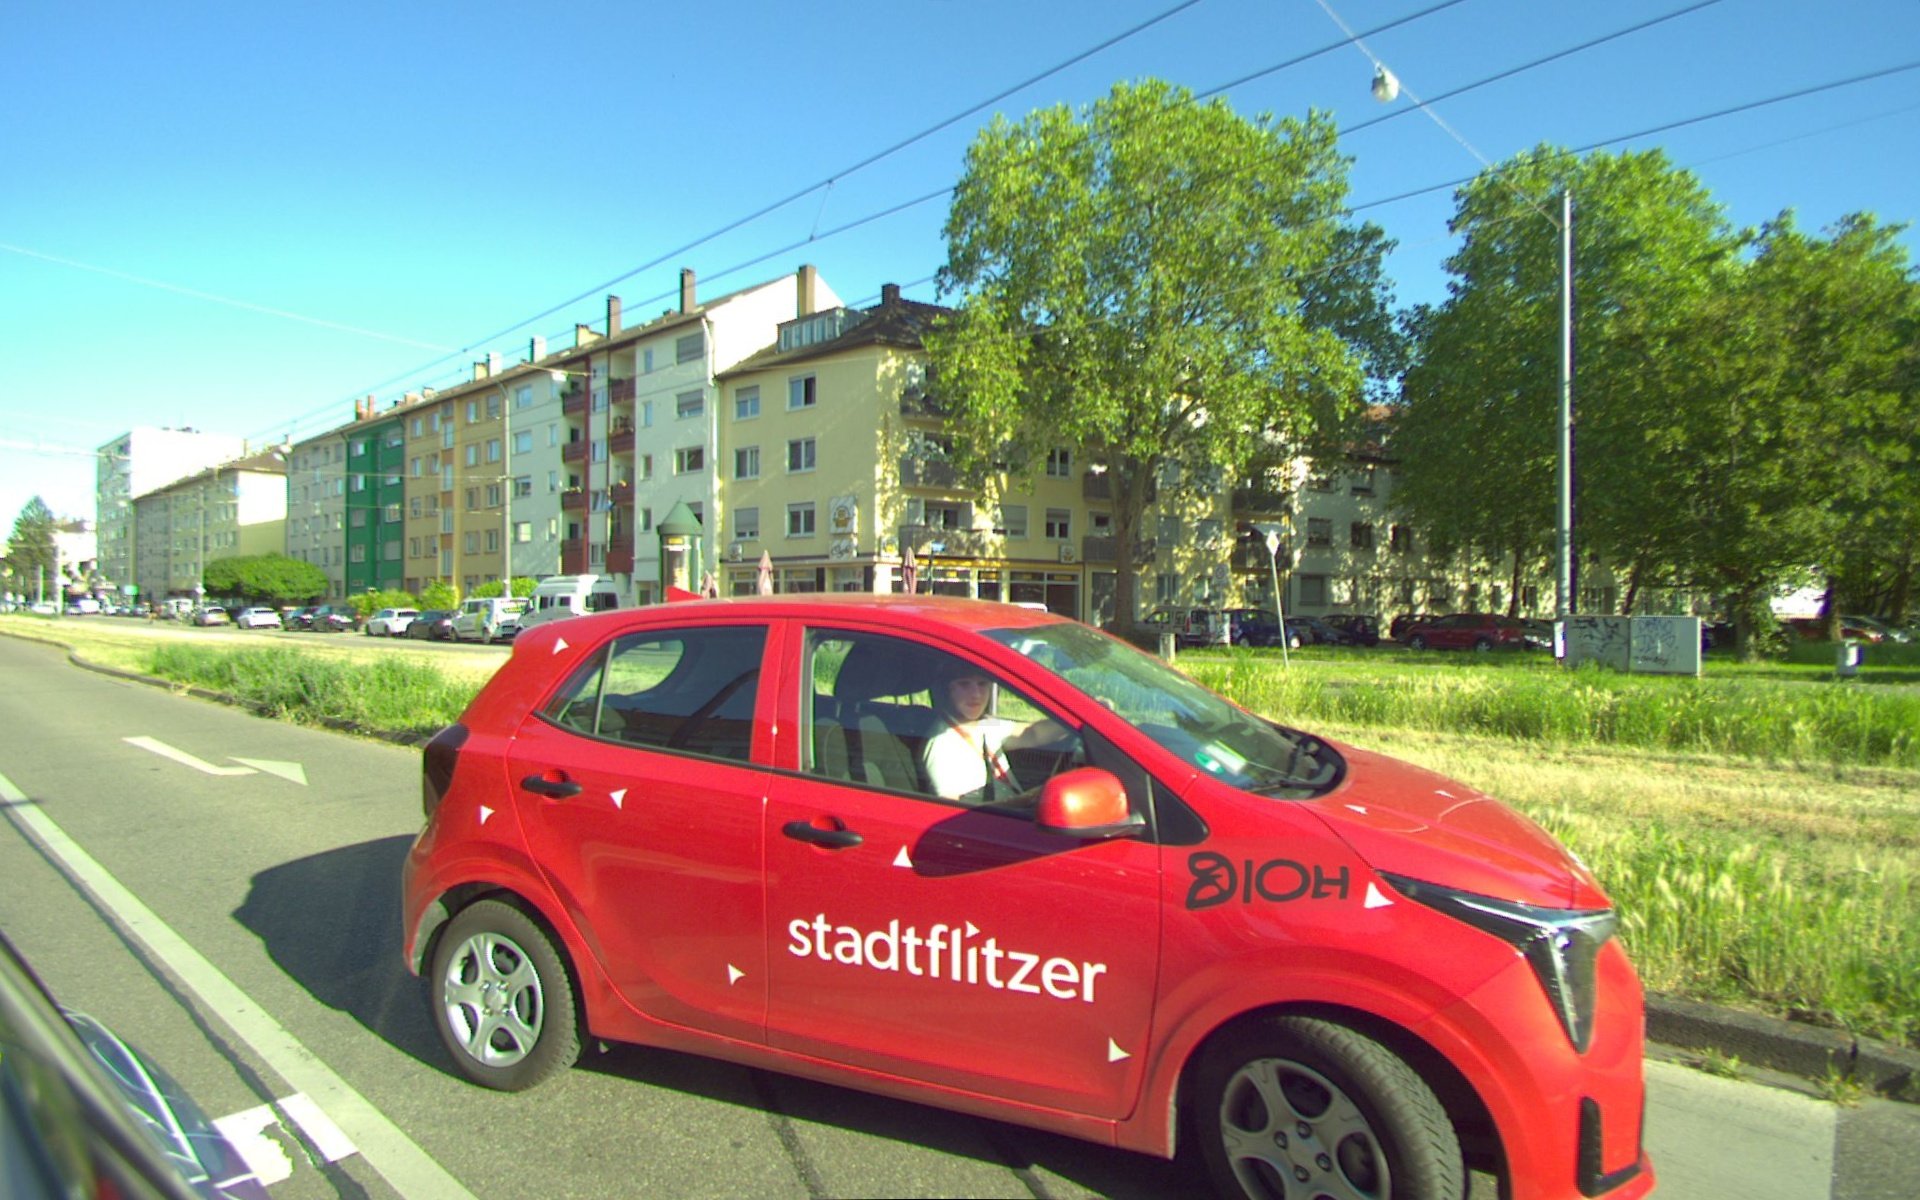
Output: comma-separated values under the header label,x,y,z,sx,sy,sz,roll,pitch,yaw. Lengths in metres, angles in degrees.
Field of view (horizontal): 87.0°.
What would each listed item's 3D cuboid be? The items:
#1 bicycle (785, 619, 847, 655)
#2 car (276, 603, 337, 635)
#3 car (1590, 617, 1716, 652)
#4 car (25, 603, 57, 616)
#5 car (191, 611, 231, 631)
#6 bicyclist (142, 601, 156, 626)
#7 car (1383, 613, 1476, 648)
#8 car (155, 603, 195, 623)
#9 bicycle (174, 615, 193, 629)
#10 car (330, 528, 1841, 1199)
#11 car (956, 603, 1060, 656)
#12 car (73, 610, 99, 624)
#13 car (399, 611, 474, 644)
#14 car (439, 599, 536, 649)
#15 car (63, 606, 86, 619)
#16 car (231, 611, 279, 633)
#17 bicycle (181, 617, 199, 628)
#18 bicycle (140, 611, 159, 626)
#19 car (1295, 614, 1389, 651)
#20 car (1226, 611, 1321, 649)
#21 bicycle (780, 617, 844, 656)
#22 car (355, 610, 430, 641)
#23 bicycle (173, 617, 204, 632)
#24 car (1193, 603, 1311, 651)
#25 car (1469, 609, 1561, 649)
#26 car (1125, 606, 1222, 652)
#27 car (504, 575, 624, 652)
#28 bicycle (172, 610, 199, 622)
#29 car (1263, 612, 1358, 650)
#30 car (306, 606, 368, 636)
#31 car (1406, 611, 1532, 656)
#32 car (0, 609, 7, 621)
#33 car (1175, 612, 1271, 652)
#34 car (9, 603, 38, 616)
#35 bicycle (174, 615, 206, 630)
label,x,y,z,sx,sy,sz,roll,pitch,yaw
bicycle,-4.978,1.269,34.966,2.065,1.193,0.518,0,1,8
car,-40.610,1.144,62.817,4.607,1.851,1.973,-1,1,41
car,28.611,1.403,41.900,1.559,1.392,4.011,1,-1,-32
car,-107.857,1.144,118.785,4.405,1.395,1.817,-1,-2,35
car,-58.168,1.588,78.569,3.730,1.453,1.619,0,1,39
bicyclist,-65.964,1.118,82.333,0.648,2.029,0.765,-1,1,41
car,24.974,1.601,53.940,1.965,1.677,4.074,2,-1,-29
car,-81.839,1.370,105.459,5.493,1.964,1.975,-1,1,38
bicycle,-62.928,1.753,81.975,1.928,1.101,0.506,-1,1,30
car,0.092,0.649,3.201,3.673,1.519,1.688,-1,1,22
car,1.813,1.079,39.318,1.967,1.840,4.010,-2,1,-34
car,-121.681,2.336,140.855,4.665,1.912,1.974,-1,1,39
car,-25.640,1.294,49.503,4.321,1.526,1.678,0,0,39
car,-21.338,1.029,45.610,5.370,2.036,2.010,0,1,42
car,-107.689,1.505,123.071,4.216,1.459,1.676,-1,-2,42
car,-48.606,1.514,69.755,4.374,1.465,1.710,-1,0,42
bicycle,-62.754,1.837,82.433,2.046,0.872,0.374,-1,1,30
bicycle,-65.835,1.506,82.229,2.474,1.155,0.760,-1,-3,42
car,18.638,1.558,49.533,1.850,1.626,4.013,3,-1,-29
car,14.454,1.376,46.888,1.850,1.582,4.013,3,-1,-29
bicycle,-5.024,1.232,34.405,2.065,1.261,0.518,0,1,8
car,-29.798,1.299,53.084,4.699,1.503,1.873,-1,1,40
bicycle,-65.665,2.070,86.139,2.024,1.101,0.616,-3,1,-43
car,10.352,0.932,35.851,3.931,1.613,1.755,1,-1,-30
car,24.298,1.261,44.296,3.931,1.697,1.755,1,-1,-30
car,9.325,1.260,44.485,1.965,1.857,4.013,3,-1,-29
car,-16.135,0.517,41.024,6.227,2.890,2.010,0,0,43
bicycle,-78.892,1.628,103.101,0.472,1.114,2.076,-1,1,41
car,16.502,1.435,47.857,1.850,1.626,4.013,3,-1,-29
car,-36.720,1.222,59.644,4.149,1.619,1.973,-1,1,41
car,17.874,1.139,35.698,1.618,1.391,3.659,-2,1,-31
car,-131.619,1.995,138.208,3.998,1.571,1.596,-1,-3,41
car,11.963,1.431,46.222,1.965,1.677,4.074,2,-1,-29
car,-114.099,1.199,123.227,4.406,1.540,1.767,-1,-2,36
bicycle,-64.100,1.853,84.254,2.024,1.101,0.616,-3,1,-43
